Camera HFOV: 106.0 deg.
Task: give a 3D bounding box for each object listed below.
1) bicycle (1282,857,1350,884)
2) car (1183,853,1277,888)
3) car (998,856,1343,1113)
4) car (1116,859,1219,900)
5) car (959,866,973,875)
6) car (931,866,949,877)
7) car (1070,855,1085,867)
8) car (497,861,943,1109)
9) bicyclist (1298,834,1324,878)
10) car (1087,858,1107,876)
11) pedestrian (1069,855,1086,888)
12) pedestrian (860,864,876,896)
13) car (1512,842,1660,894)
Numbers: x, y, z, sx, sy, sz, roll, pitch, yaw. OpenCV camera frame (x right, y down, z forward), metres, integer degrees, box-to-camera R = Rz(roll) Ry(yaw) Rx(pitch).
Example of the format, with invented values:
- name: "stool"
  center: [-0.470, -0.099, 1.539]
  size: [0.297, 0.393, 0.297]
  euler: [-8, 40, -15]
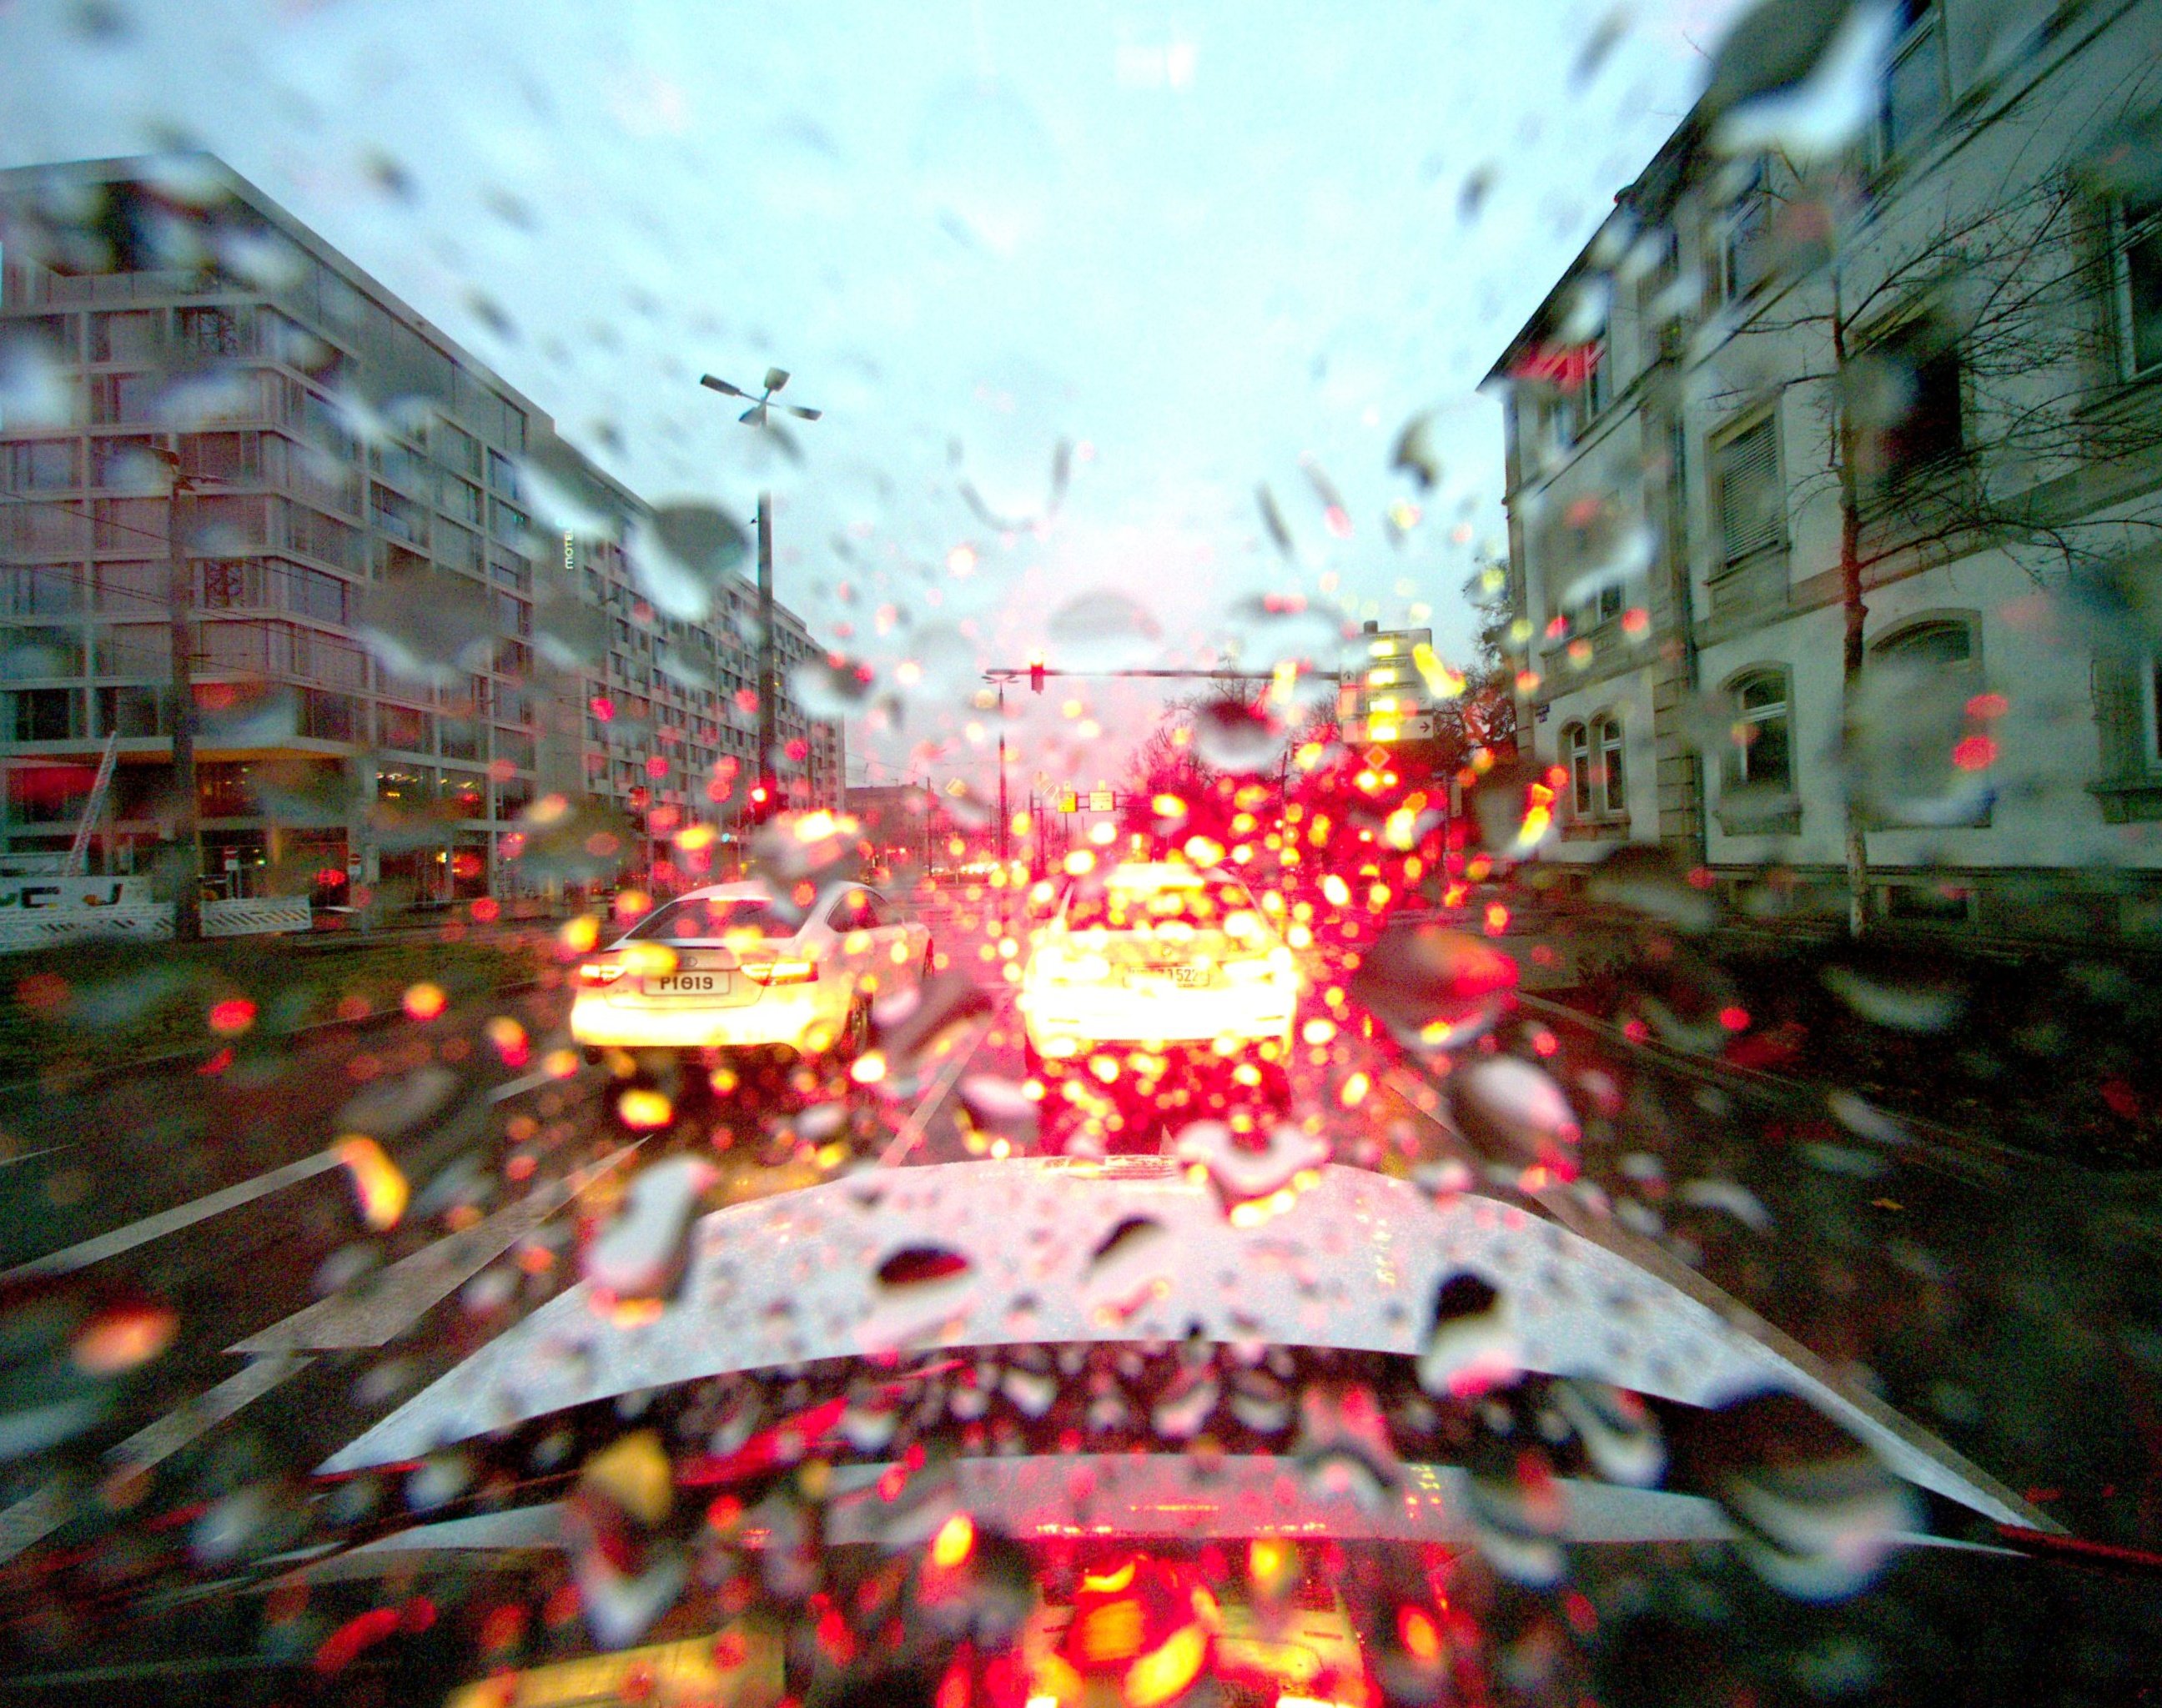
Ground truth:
- name: "bicycle"
  center: [9.556, 0.683, 33.200]
  size: [2.648, 1.089, 0.818]
  euler: [0, -1, 14]
- name: "car"
  center: [6.820, 0.752, 37.203]
  size: [3.920, 1.554, 1.758]
  euler: [0, -1, 22]
- name: "car"
  center: [0.524, 0.761, 6.929]
  size: [1.987, 1.456, 4.367]
  euler: [-1, 0, 0]
- name: "car"
  center: [3.254, 0.928, 30.469]
  size: [3.664, 1.478, 1.633]
  euler: [0, -1, 11]
- name: "car"
  center: [-18.796, 2.711, 133.261]
  size: [1.669, 1.508, 3.697]
  euler: [0, -1, 1]
- name: "car"
  center: [-19.563, 2.364, 112.928]
  size: [1.669, 1.508, 3.697]
  euler: [0, -1, 1]
- name: "car"
  center: [-0.431, 0.906, 106.711]
  size: [1.837, 1.609, 3.944]
  euler: [0, -1, 0]
- name: "car"
  center: [-2.598, 0.828, 7.222]
  size: [1.987, 1.456, 4.367]
  euler: [-1, 0, 0]
- name: "bicyclist"
  center: [9.383, 0.096, 33.263]
  size: [0.965, 1.759, 0.816]
  euler: [0, -1, 14]
- name: "car"
  center: [1.511, 1.241, 76.706]
  size: [1.836, 1.609, 3.945]
  euler: [0, -1, 1]
- name: "pedestrian"
  center: [-0.201, 1.004, 46.945]
  size: [0.899, 1.856, 0.813]
  euler: [0, -1, 3]
- name: "pedestrian"
  center: [-11.718, 1.415, 44.775]
  size: [0.791, 1.712, 0.809]
  euler: [0, -1, -13]
- name: "car"
  center: [16.797, 0.468, 27.321]
  size: [3.953, 1.622, 1.728]
  euler: [0, -1, 21]
